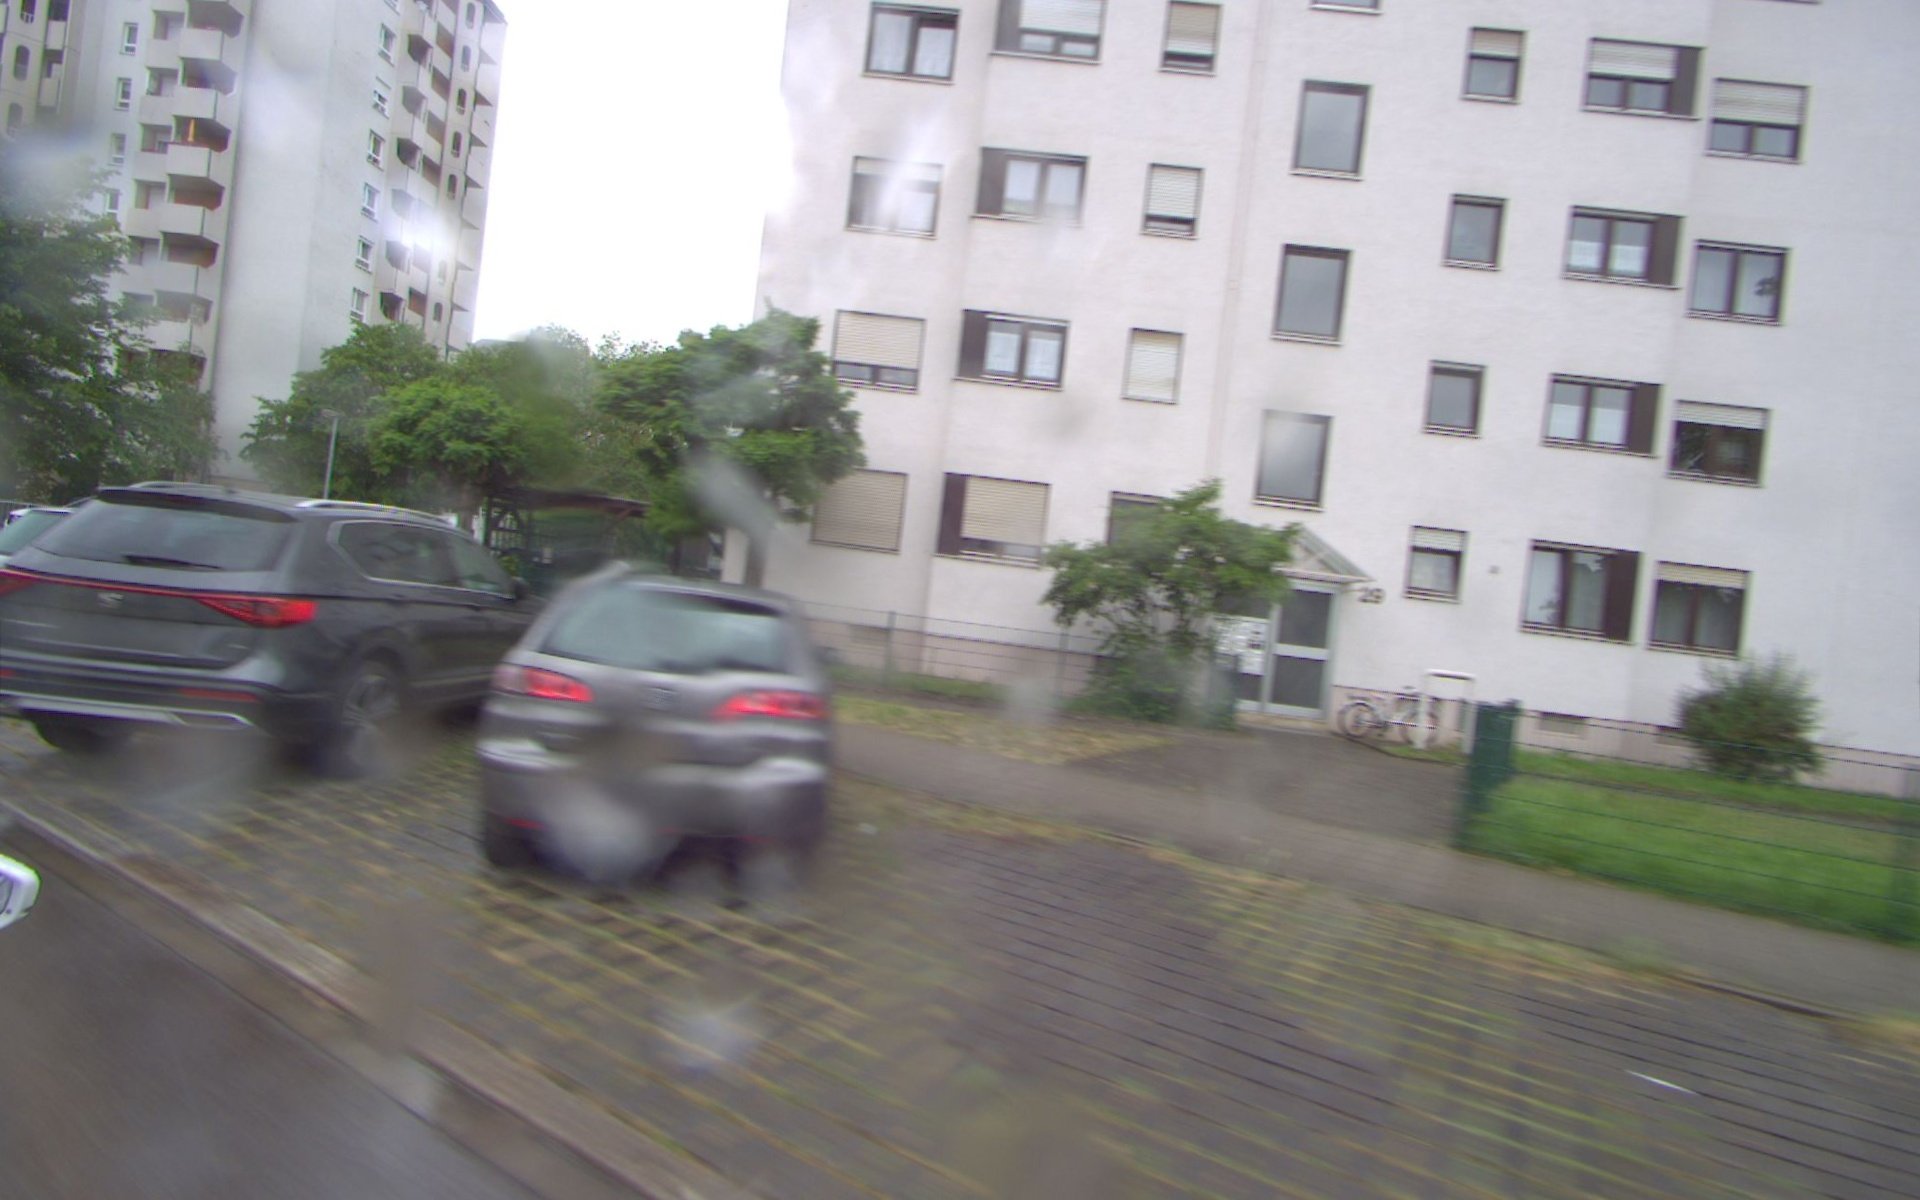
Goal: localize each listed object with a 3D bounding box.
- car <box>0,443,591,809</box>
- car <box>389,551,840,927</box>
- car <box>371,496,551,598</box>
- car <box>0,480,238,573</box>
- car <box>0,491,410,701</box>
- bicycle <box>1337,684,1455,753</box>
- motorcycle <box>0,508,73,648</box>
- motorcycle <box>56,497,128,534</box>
[{"bbox_3d":[-4.408,0.110,7.174,1.823,1.672,4.348,7,0,0],"label":"car"},{"bbox_3d":[-1.728,0.586,6.238,1.705,1.446,3.993,7,0,-8],"label":"car"},{"bbox_3d":[-18.223,-1.841,37.185,2.090,3.000,6.077,7,0,18],"label":"car"},{"bbox_3d":[-22.255,-1.876,26.603,1.962,1.767,4.820,7,-1,18],"label":"car"},{"bbox_3d":[-7.117,-0.094,9.463,1.707,1.441,4.121,6,1,-4],"label":"car"},{"bbox_3d":[6.872,1.858,15.904,1.542,0.858,0.491,6,1,6],"label":"bicycle"},{"bbox_3d":[-9.689,-0.234,9.695,0.677,1.354,1.778,6,1,-4],"label":"motorcycle"},{"bbox_3d":[-38.380,-3.738,44.496,2.261,1.305,0.884,6,1,-4],"label":"motorcycle"}]
